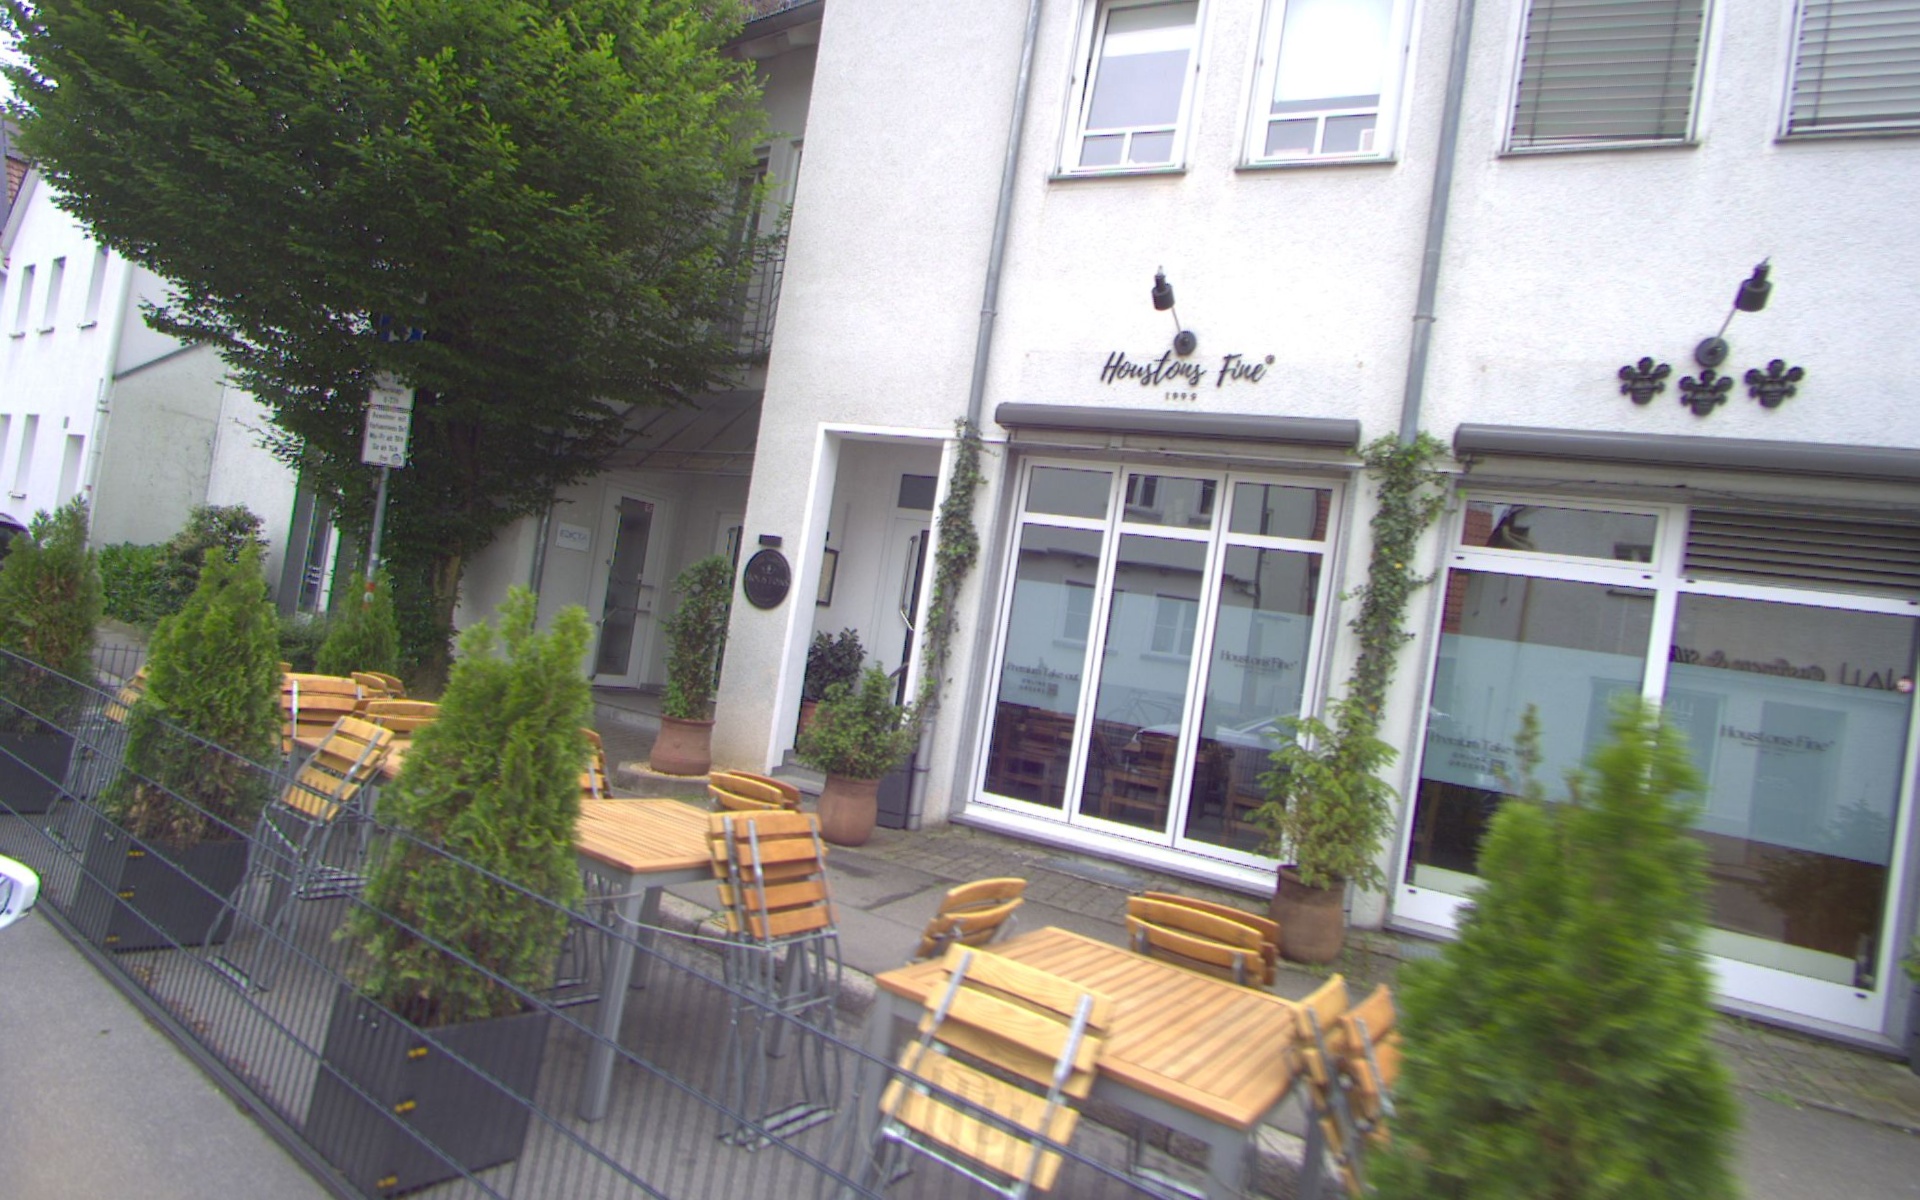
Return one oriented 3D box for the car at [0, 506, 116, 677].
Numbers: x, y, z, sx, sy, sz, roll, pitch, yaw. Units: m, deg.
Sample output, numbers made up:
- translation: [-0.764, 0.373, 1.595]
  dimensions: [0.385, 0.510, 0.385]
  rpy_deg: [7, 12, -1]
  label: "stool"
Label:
- translation: [-10.871, -0.339, 10.466]
  dimensions: [4.745, 1.524, 1.951]
  rpy_deg: [6, -3, 36]
  label: "car"
